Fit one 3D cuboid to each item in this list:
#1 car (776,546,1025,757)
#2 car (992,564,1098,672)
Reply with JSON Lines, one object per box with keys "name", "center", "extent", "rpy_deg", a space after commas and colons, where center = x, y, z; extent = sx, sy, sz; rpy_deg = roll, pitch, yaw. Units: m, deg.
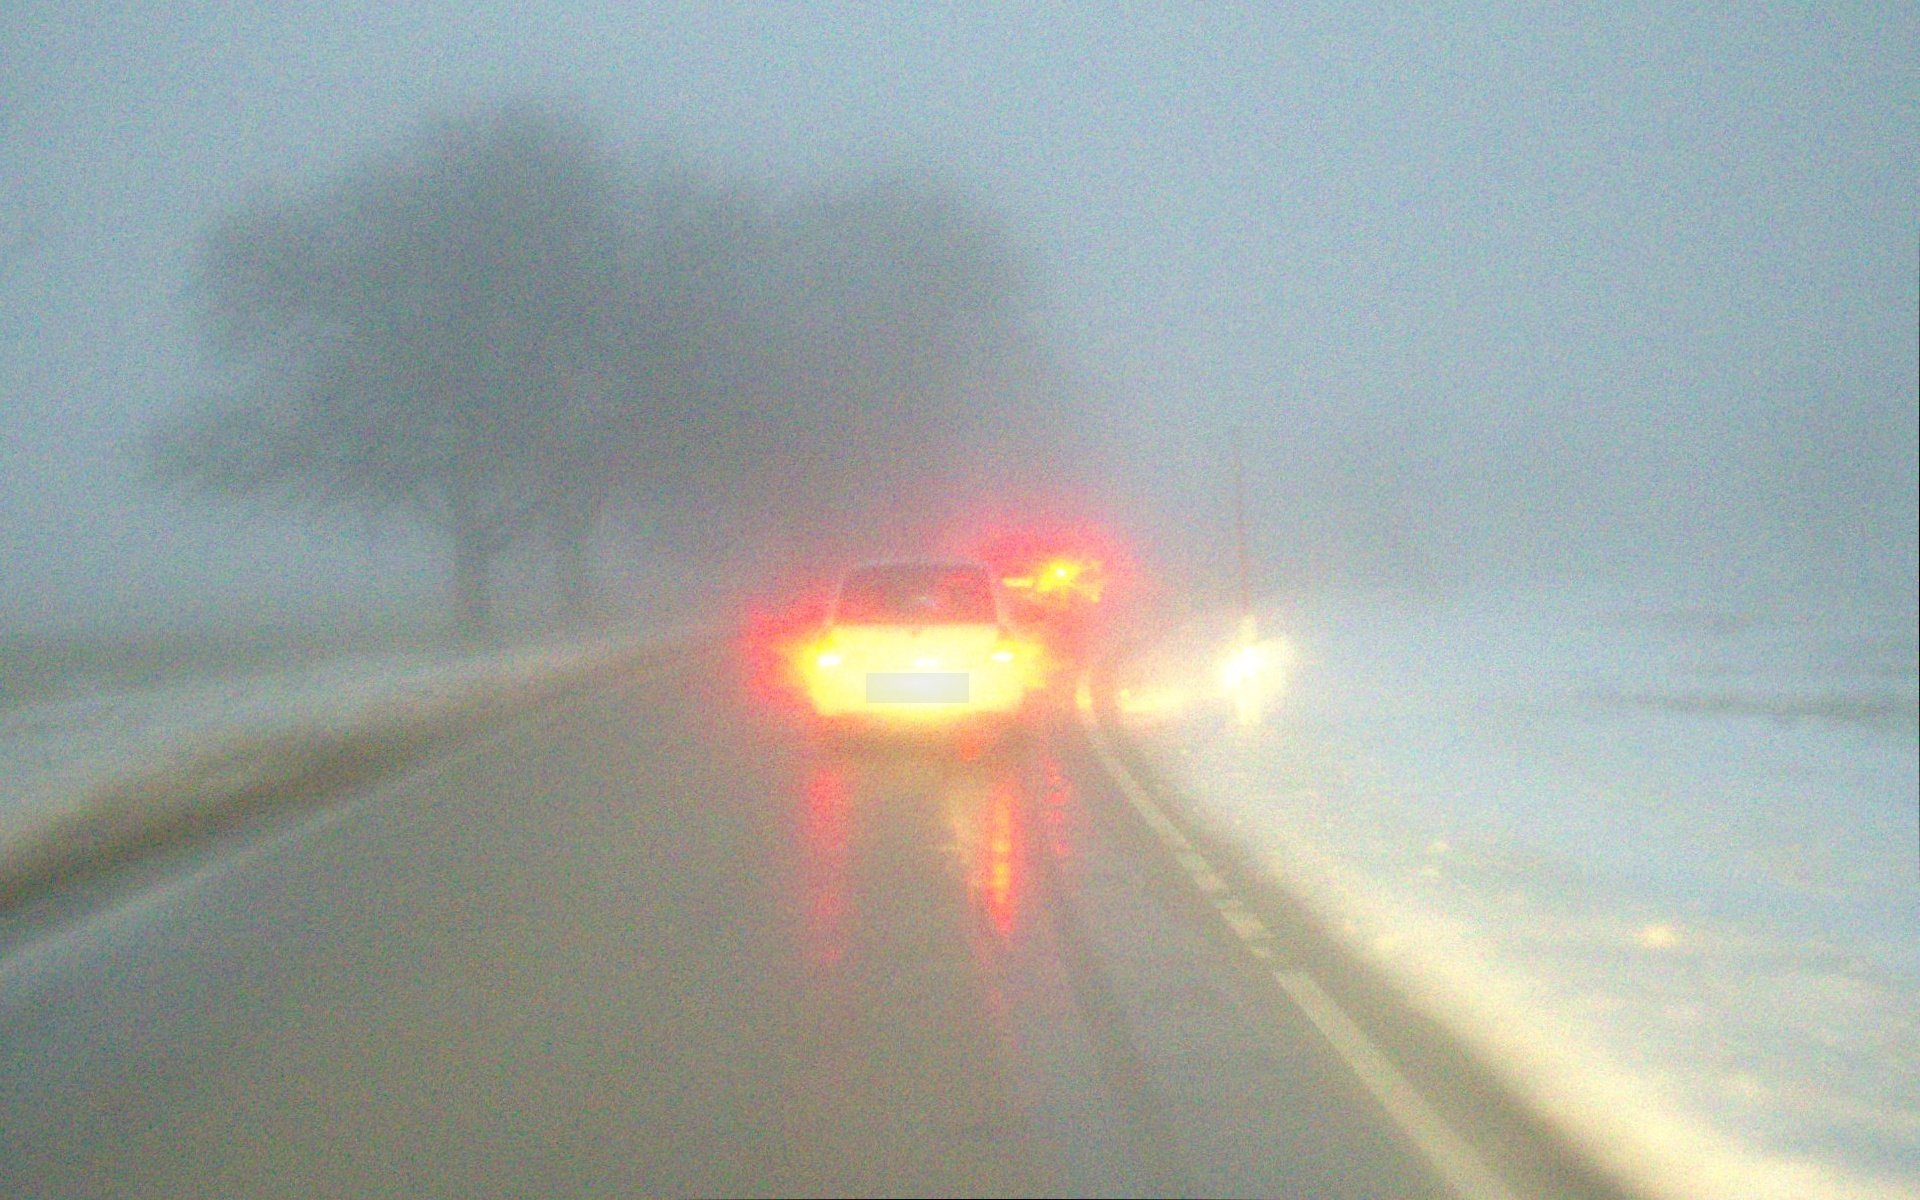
{"name": "car", "center": [-0.389, 0.337, 26.546], "extent": [1.707, 1.458, 4.000], "rpy_deg": [1, 1, 2]}
{"name": "car", "center": [1.240, 0.238, 49.987], "extent": [1.479, 1.503, 3.053], "rpy_deg": [-1, 1, 1]}
